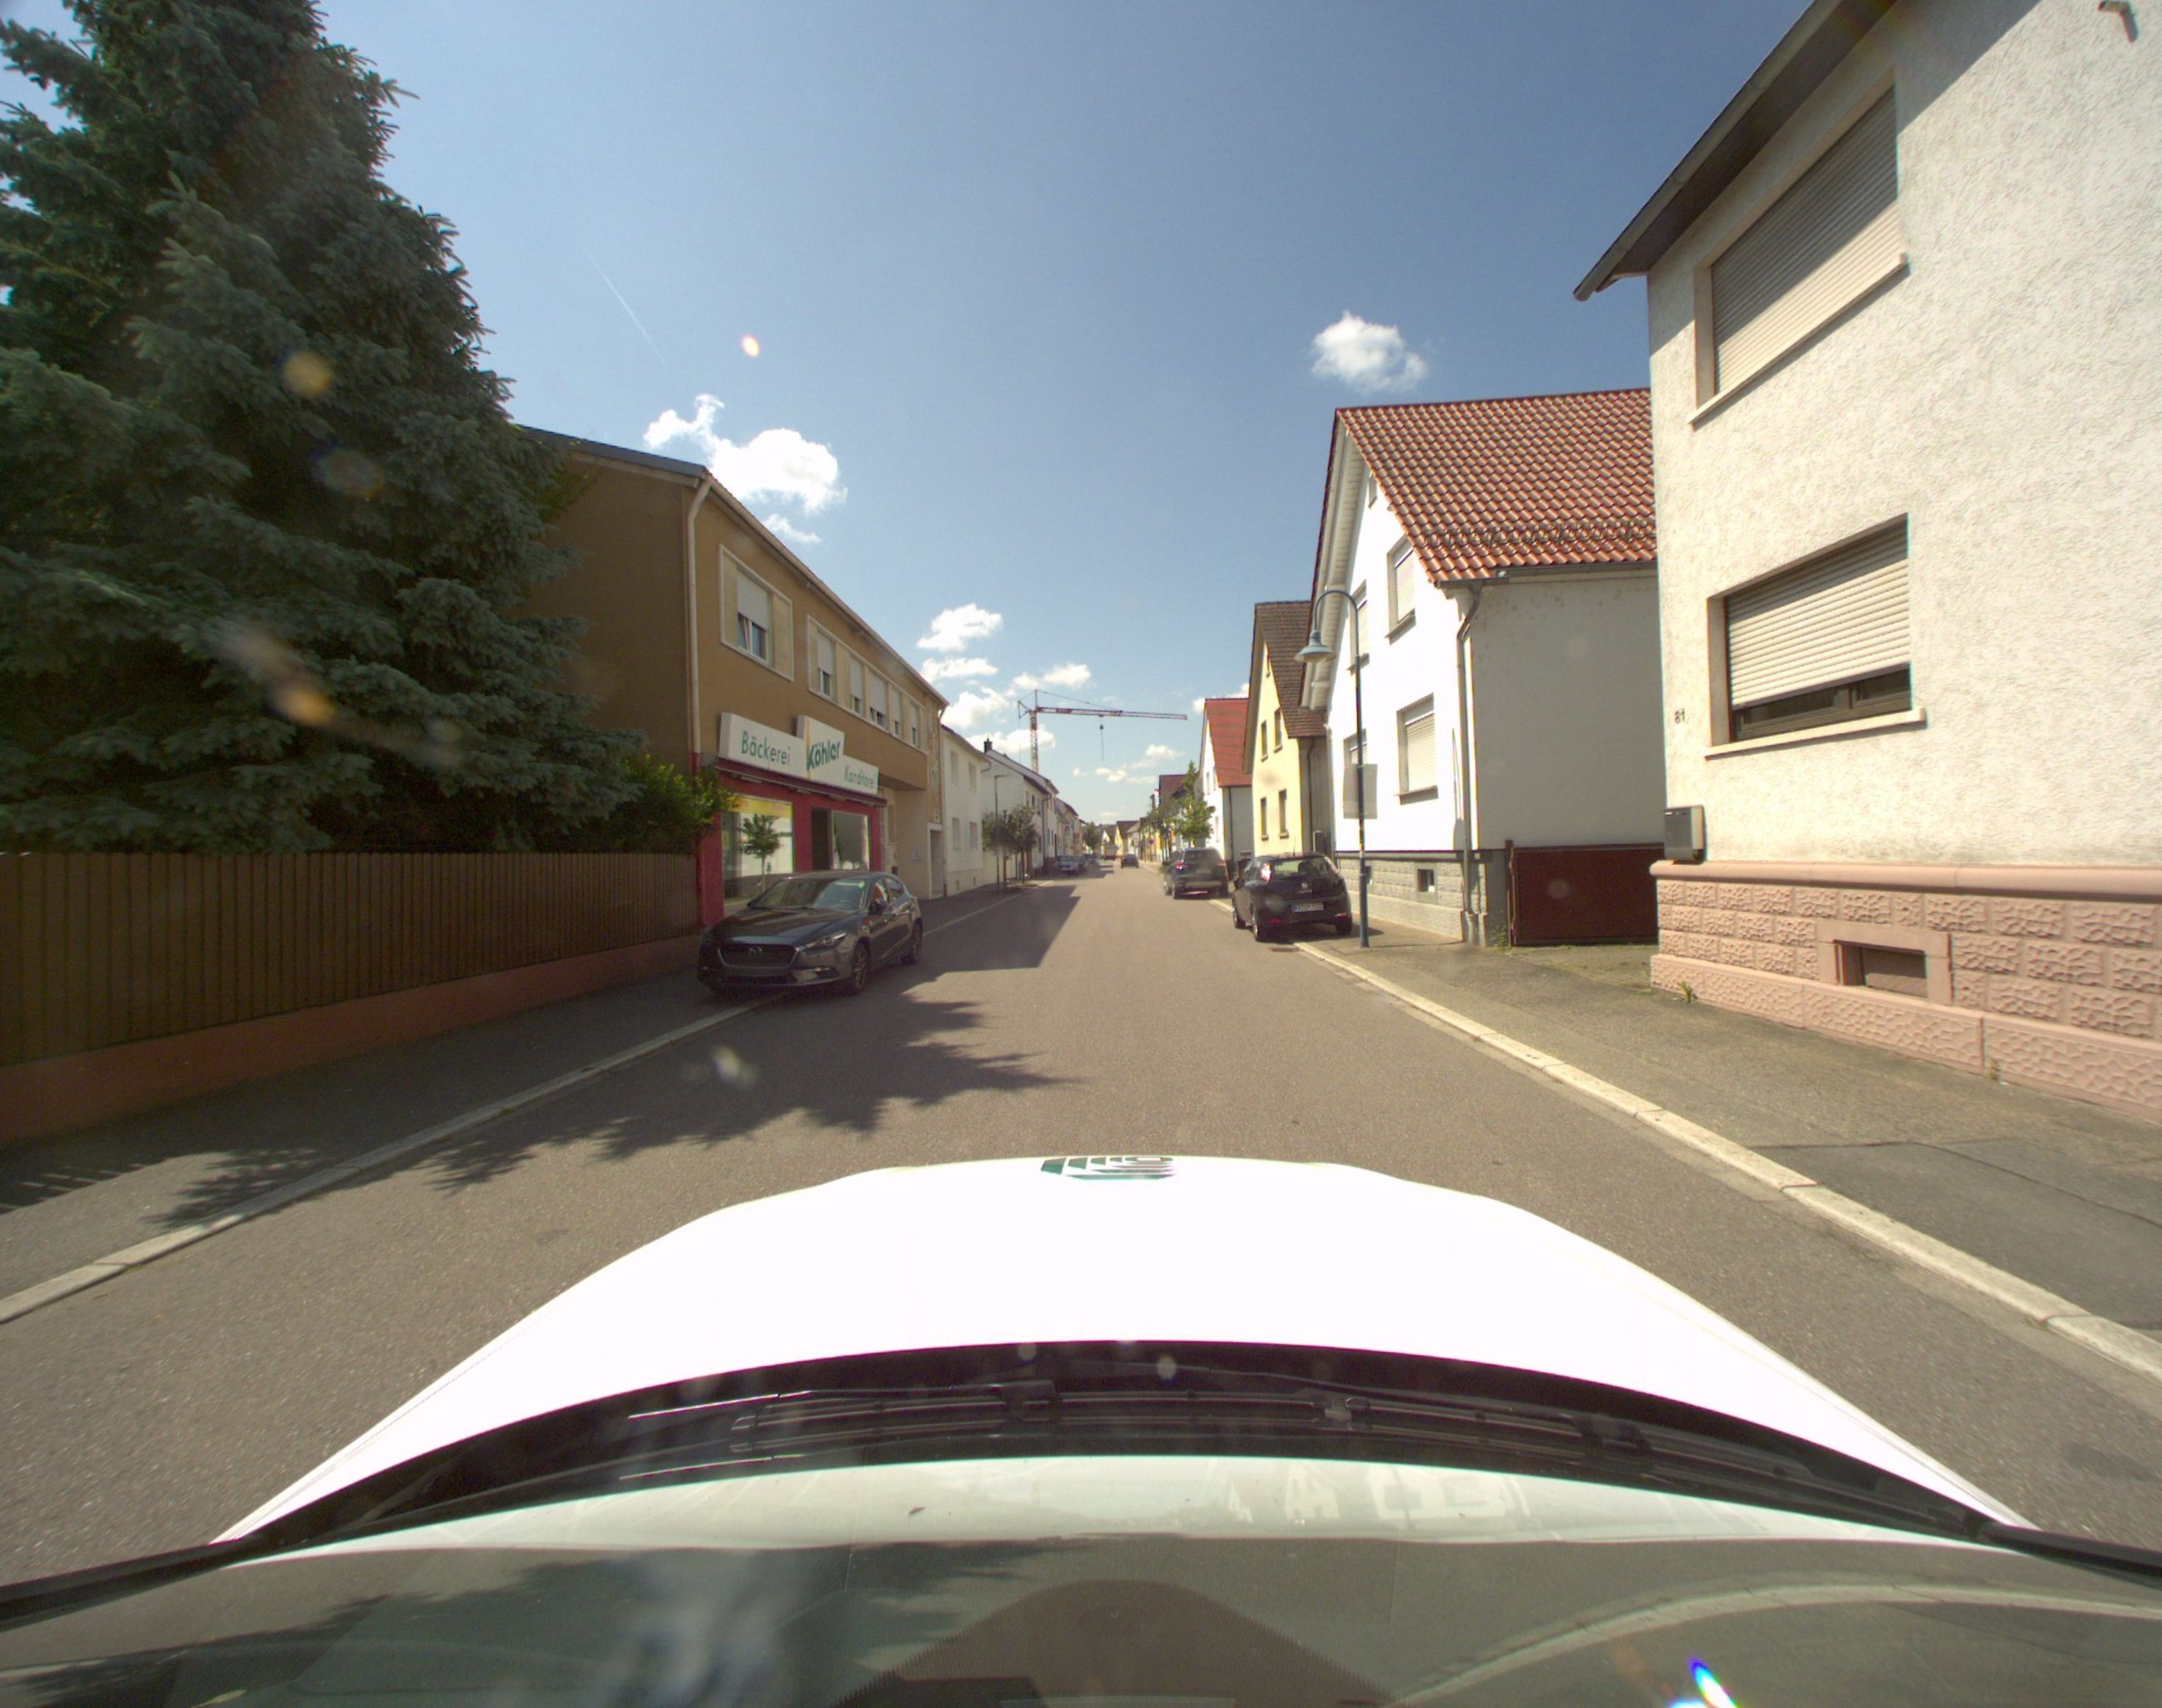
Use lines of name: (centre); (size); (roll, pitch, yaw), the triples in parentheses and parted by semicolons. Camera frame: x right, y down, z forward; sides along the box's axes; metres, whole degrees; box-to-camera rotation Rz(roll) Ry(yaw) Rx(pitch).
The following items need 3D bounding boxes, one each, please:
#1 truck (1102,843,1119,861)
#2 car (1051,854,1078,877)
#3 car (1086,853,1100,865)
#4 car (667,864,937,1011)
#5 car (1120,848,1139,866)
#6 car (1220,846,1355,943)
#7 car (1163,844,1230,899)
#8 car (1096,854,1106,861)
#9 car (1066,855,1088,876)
truck: (6.536, -0.408, 181.092); (3.367, 3.865, 13.928); (-3, 0, 1)
car: (-1.170, 0.817, 60.408); (1.752, 1.525, 4.291); (-2, 0, 2)
car: (1.586, 0.678, 106.379); (1.716, 1.555, 4.175); (0, 0, 3)
car: (-3.360, 0.911, 10.856); (1.760, 1.460, 4.441); (-2, 0, 4)
car: (4.942, 0.336, 83.749); (1.776, 1.753, 4.001); (-3, 0, 1)
car: (3.799, 0.674, 15.637); (1.611, 1.495, 3.974); (-4, 0, 2)
car: (3.926, 0.555, 28.257); (1.723, 1.717, 4.275); (-2, 0, 0)
car: (5.516, 0.922, 222.757); (1.823, 1.753, 4.209); (-3, 0, -13)
car: (-0.306, 0.914, 66.885); (1.647, 1.609, 4.063); (-2, 0, 2)
